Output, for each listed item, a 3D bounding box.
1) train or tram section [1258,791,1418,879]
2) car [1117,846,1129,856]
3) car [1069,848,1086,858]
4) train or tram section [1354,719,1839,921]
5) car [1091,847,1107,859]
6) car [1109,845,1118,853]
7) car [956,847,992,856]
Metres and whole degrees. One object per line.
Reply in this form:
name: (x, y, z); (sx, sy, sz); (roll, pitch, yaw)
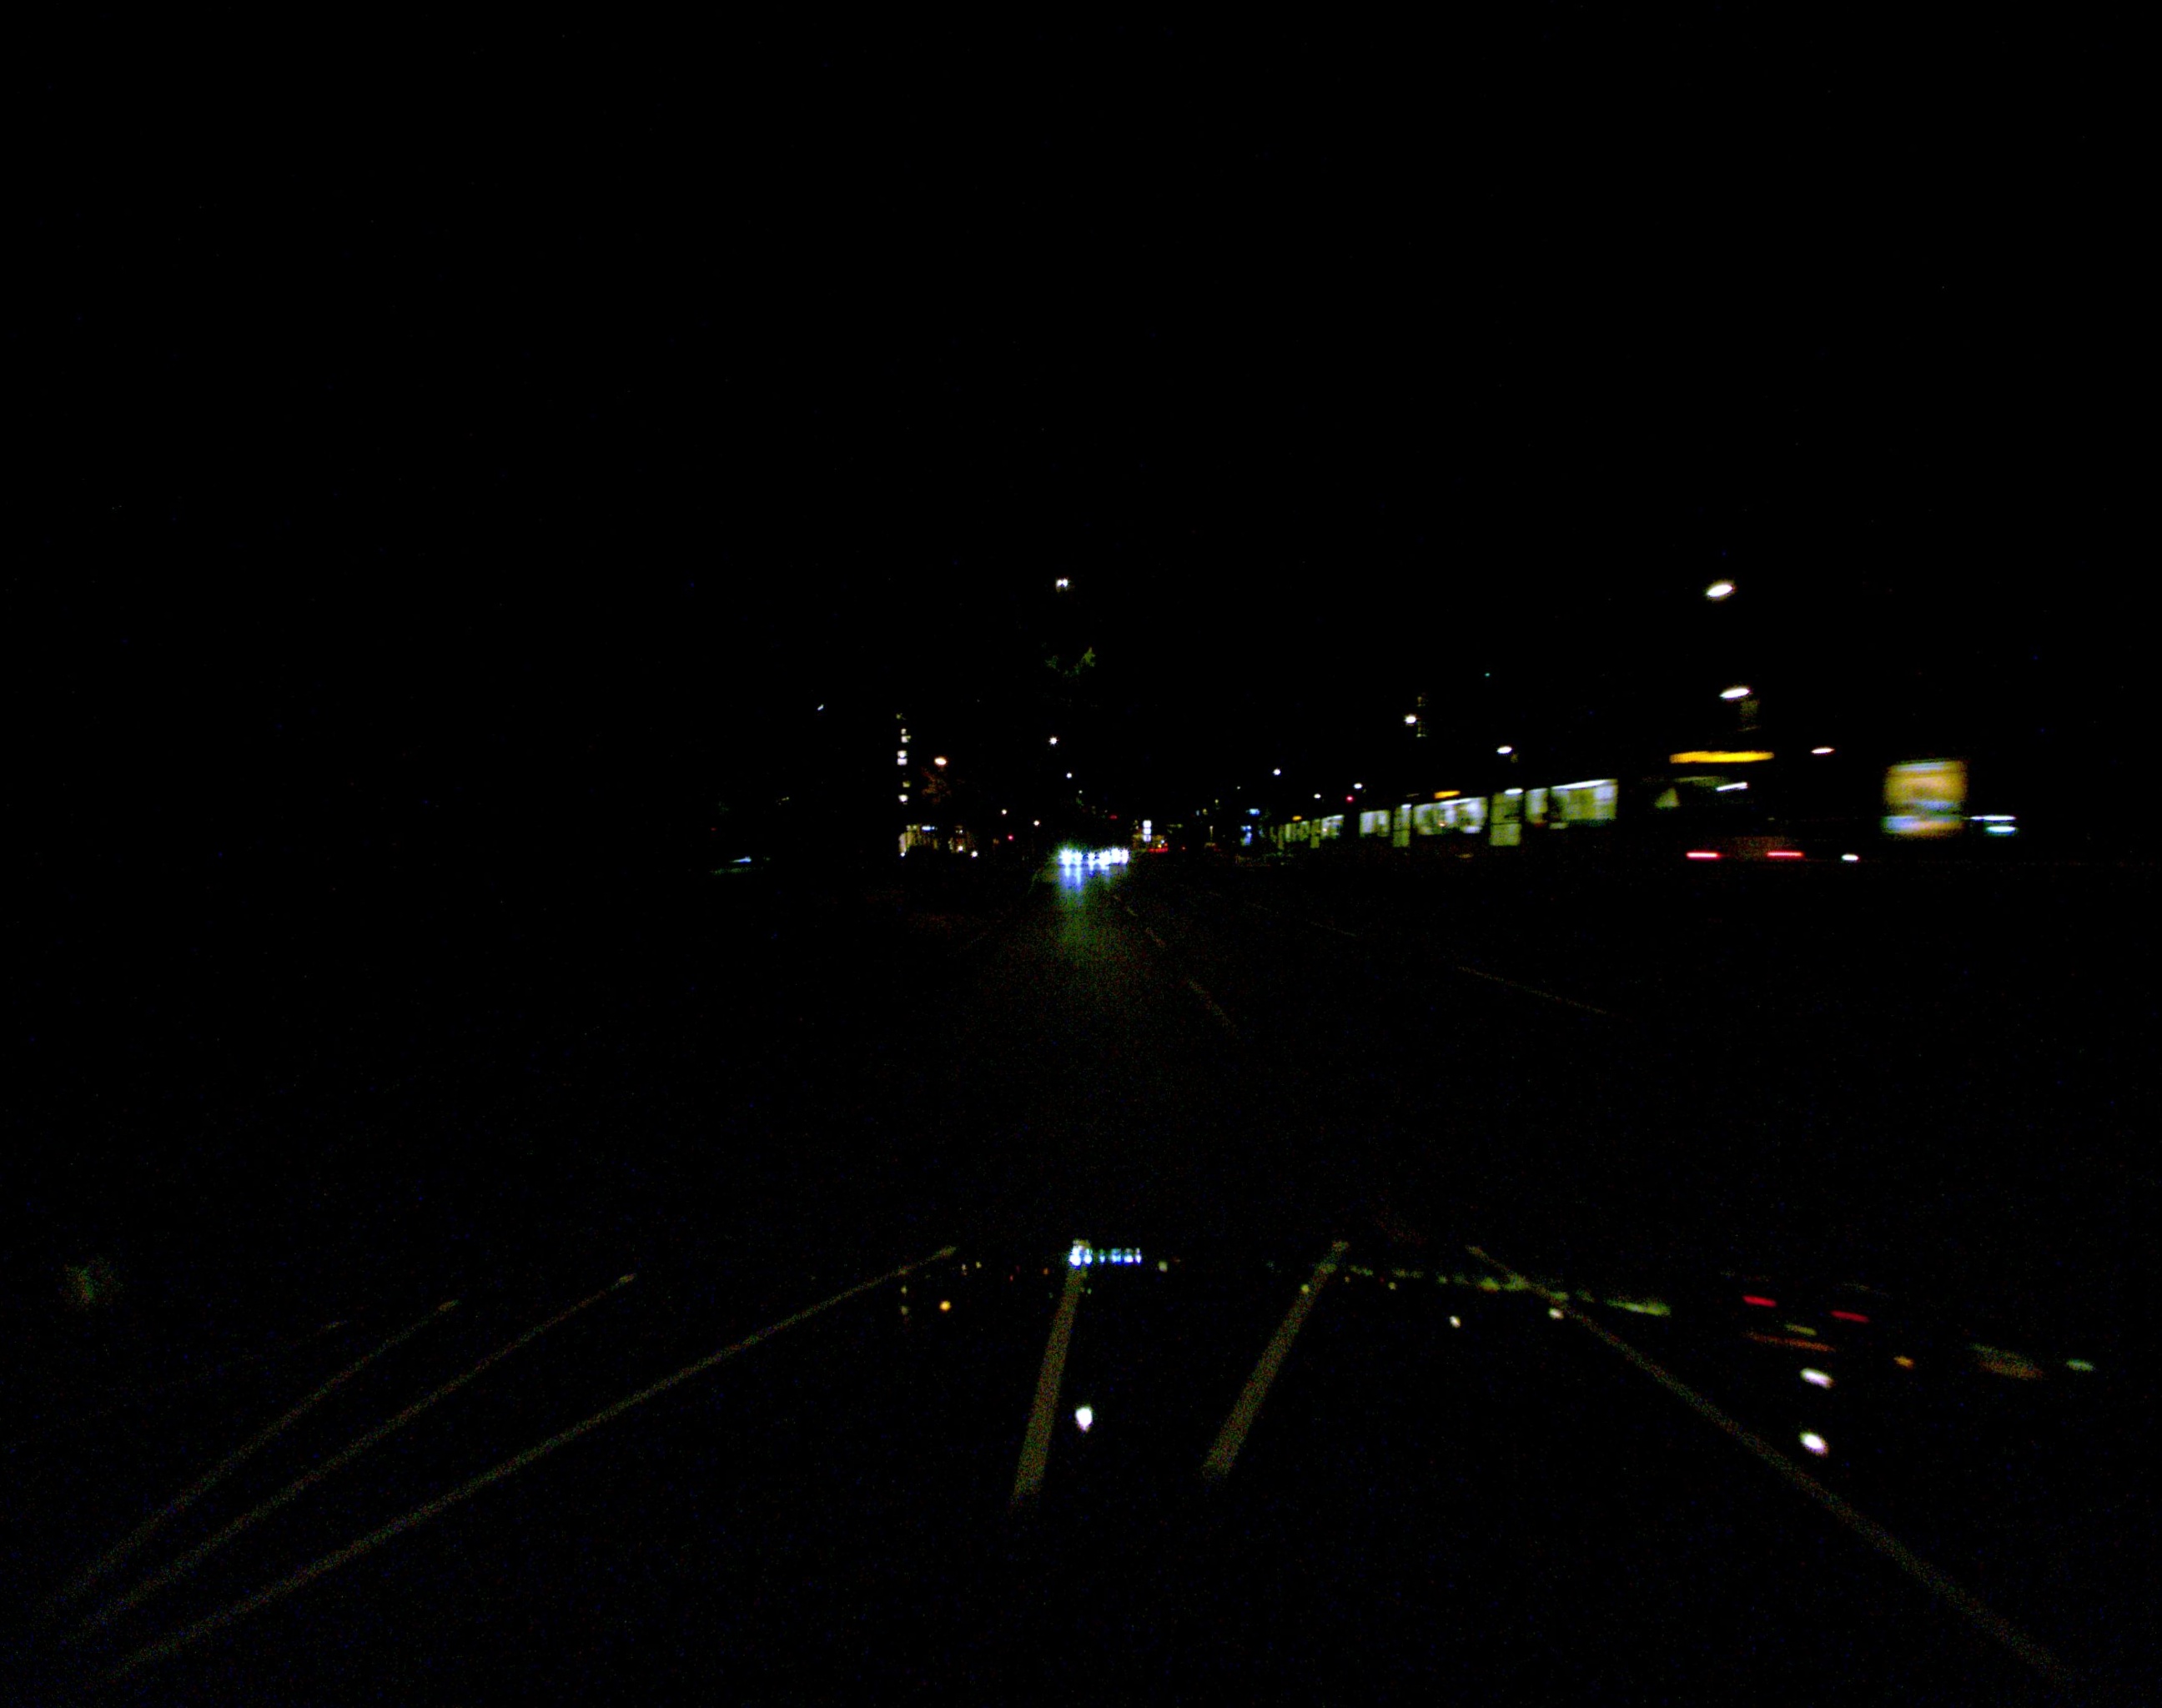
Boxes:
train or tram section: (13.537, -0.931, 42.991); (2.745, 3.824, 19.362); (-2, 1, 1)
car: (7.416, -0.553, 134.383); (1.908, 1.609, 3.718); (-2, 1, 1)
car: (-0.460, -0.143, 102.222); (1.947, 1.299, 3.907); (1, 1, 6)
train or tram section: (13.266, -0.742, 23.943); (2.765, 3.805, 18.668); (-2, 1, 1)
car: (2.457, -0.137, 101.807); (1.858, 1.482, 3.560); (-2, 1, 6)
car: (7.147, -1.073, 165.002); (1.827, 1.696, 4.000); (-2, 1, 4)
car: (-12.573, -0.321, 89.324); (4.008, 1.028, 1.480); (0, 0, -41)
